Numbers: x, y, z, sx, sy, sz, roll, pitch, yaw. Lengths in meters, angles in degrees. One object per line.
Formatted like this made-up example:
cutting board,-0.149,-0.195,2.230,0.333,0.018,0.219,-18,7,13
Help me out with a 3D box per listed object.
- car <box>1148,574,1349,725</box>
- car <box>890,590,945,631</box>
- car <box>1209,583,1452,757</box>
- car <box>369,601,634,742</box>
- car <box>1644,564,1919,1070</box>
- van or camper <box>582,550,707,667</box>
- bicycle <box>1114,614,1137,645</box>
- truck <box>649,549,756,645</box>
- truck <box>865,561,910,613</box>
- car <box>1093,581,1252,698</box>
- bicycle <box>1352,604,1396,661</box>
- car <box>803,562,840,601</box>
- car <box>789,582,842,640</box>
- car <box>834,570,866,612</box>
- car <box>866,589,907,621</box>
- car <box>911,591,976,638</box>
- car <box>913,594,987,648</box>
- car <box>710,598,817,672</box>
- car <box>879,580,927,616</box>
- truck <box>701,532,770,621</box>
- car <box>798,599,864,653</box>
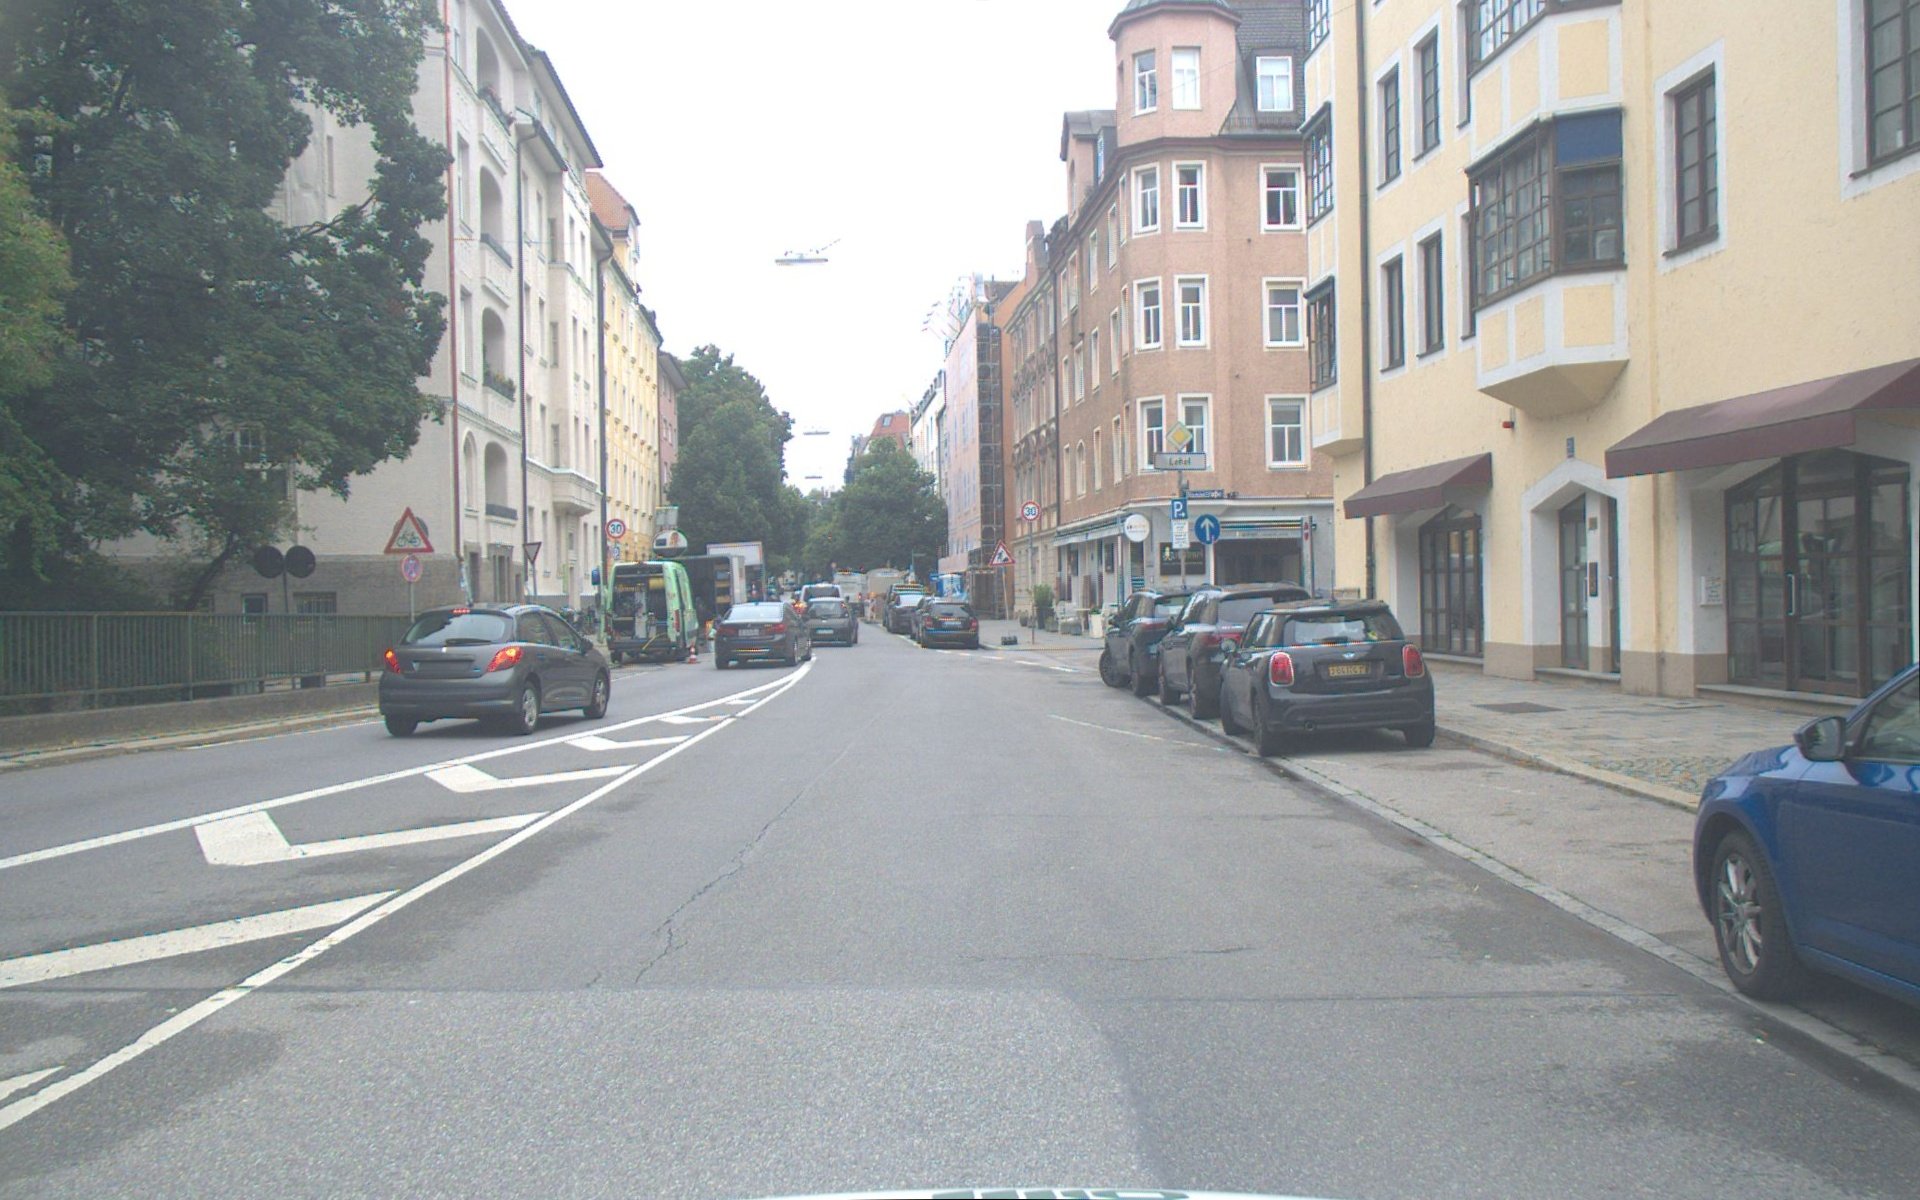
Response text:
car,3.676,0.575,21.900,1.721,1.708,4.706,-3,0,-1
car,-1.697,0.374,64.849,1.808,1.454,4.301,2,1,-6
car,3.703,0.633,17.168,1.720,1.522,3.824,-3,0,2
car,-5.469,0.791,20.291,1.721,1.486,4.077,-1,0,6
car,3.757,0.634,4.645,1.721,1.522,4.487,-3,0,-1
van or camper,-8.429,0.146,44.848,2.549,2.889,6.181,-1,1,-4
bicycle,4.617,0.812,46.112,0.447,0.819,1.326,-1,0,-2
truck,-8.491,-0.170,55.353,2.718,2.923,7.198,-1,1,-3
truck,-4.370,-0.770,98.552,2.443,3.025,5.322,-1,0,-5
car,3.425,0.596,27.516,1.782,1.708,4.508,-3,0,-3
bicycle,7.505,0.571,30.009,0.265,0.994,1.683,0,0,-4
car,-7.687,-1.005,91.927,1.955,2.049,3.996,-2,0,-5
car,-5.624,0.391,64.738,1.951,2.111,4.137,-1,1,-4
car,-6.924,-0.568,104.132,1.901,2.523,4.780,-1,0,-3
car,-3.689,0.239,82.536,1.951,1.454,4.137,-1,1,-4
car,-0.609,0.474,56.536,1.808,1.454,4.135,2,1,-6
car,-0.347,0.614,50.301,1.808,1.454,4.179,2,1,-6
car,-4.504,0.765,38.631,1.950,1.454,4.905,-1,1,-1
car,-2.538,-0.129,72.951,1.951,1.454,4.137,-1,1,-4
truck,-10.547,-1.079,78.318,2.954,4.021,6.986,-1,0,-6
car,-3.969,0.771,51.146,1.951,1.454,4.137,-1,1,-4
